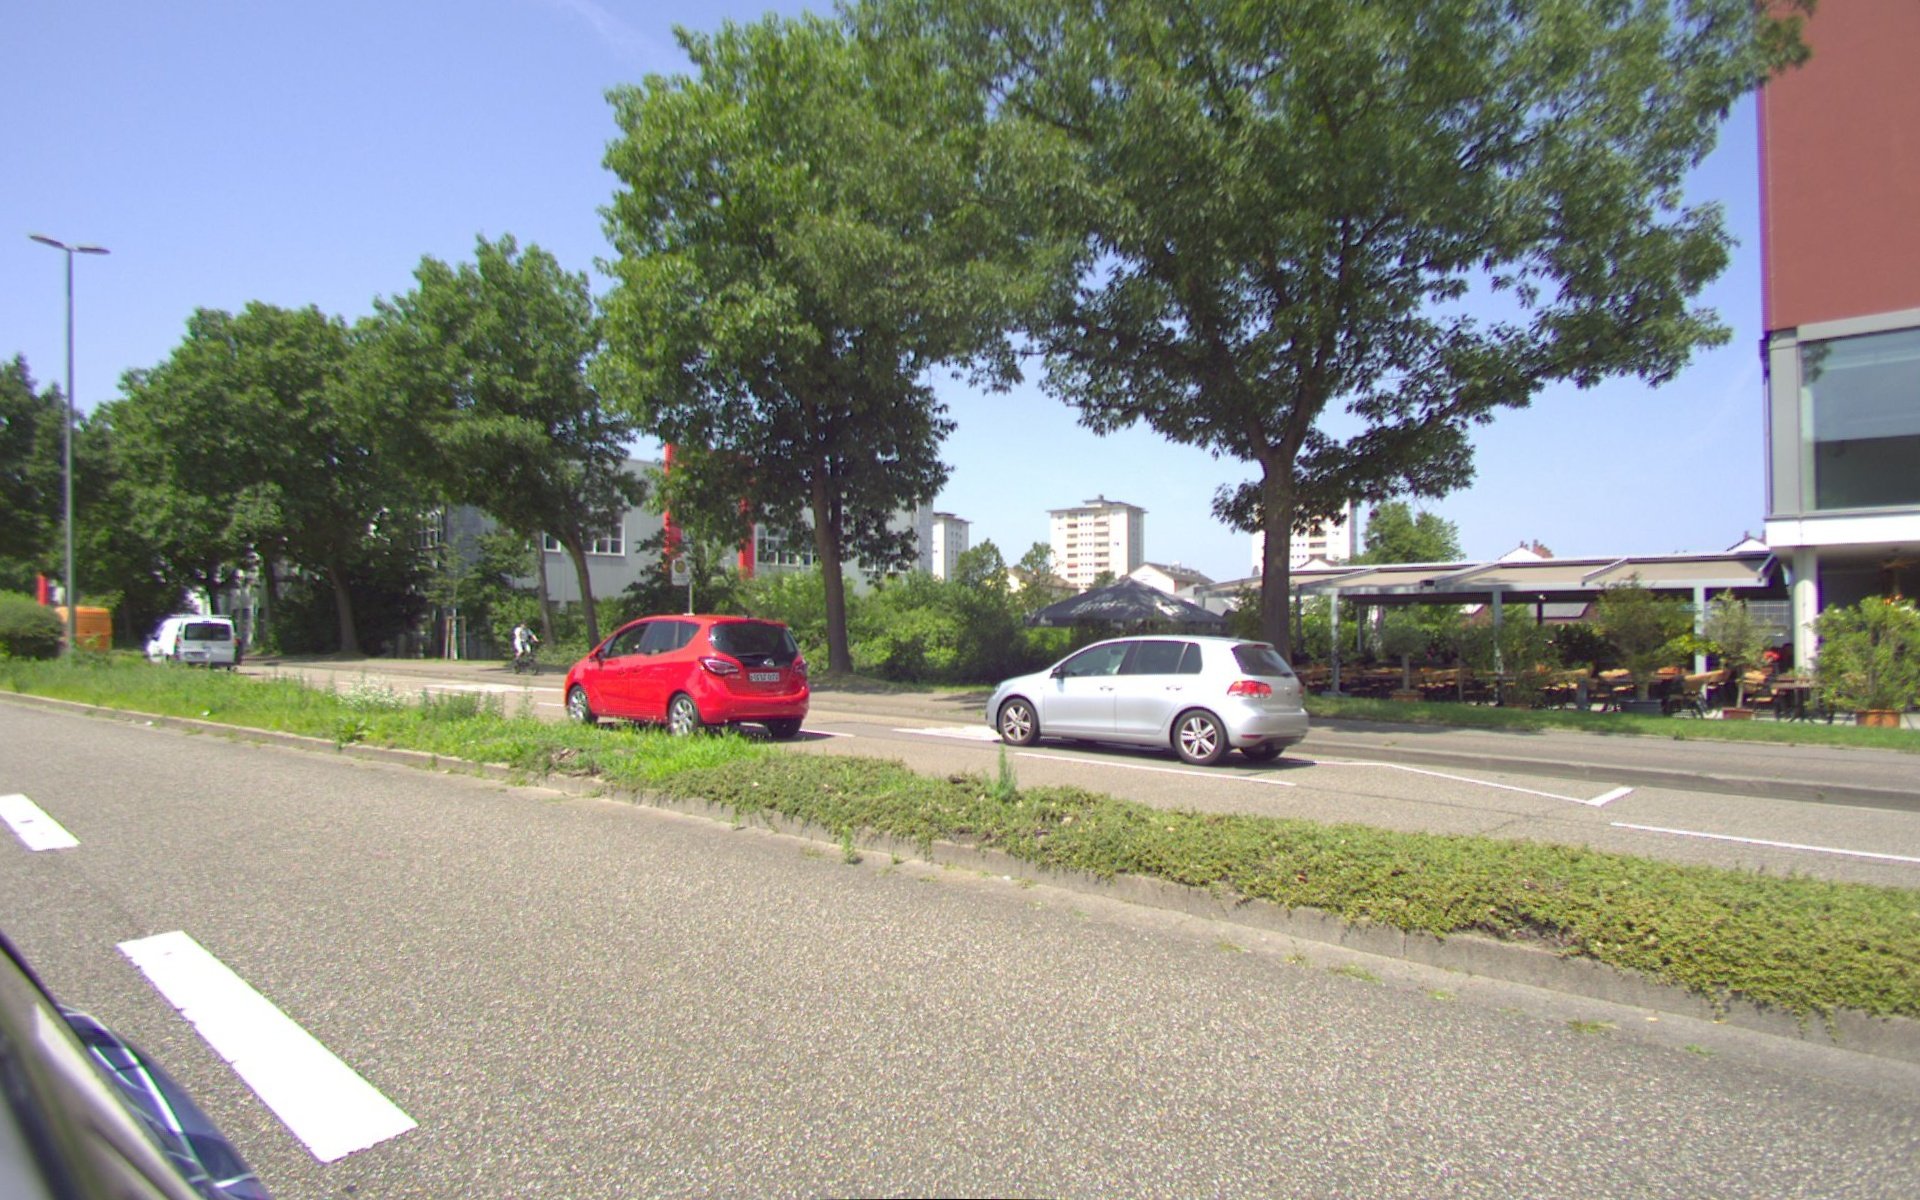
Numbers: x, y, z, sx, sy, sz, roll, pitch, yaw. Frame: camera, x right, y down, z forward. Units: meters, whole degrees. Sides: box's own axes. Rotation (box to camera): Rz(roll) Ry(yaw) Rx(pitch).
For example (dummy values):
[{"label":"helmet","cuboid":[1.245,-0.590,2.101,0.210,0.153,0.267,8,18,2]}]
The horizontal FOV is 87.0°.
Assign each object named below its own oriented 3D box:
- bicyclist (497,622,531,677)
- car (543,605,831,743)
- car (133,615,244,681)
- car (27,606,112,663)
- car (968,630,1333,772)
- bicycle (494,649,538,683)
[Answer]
[{"label":"bicyclist","cuboid":[-13.617,1.507,30.895,0.923,1.643,0.601,-2,-3,42]},{"label":"car","cuboid":[-3.797,0.950,13.694,4.151,1.582,1.730,-2,-5,42]},{"label":"car","cuboid":[-24.597,1.528,32.208,4.423,1.920,1.832,-2,-5,41]},{"label":"car","cuboid":[-43.299,1.692,49.163,6.055,2.587,2.241,-2,-4,42]},{"label":"car","cuboid":[2.232,1.140,12.482,4.131,1.462,1.730,-2,-5,42]},{"label":"bicycle","cuboid":[-13.485,1.978,30.730,1.660,0.976,0.610,-2,-3,42]}]
